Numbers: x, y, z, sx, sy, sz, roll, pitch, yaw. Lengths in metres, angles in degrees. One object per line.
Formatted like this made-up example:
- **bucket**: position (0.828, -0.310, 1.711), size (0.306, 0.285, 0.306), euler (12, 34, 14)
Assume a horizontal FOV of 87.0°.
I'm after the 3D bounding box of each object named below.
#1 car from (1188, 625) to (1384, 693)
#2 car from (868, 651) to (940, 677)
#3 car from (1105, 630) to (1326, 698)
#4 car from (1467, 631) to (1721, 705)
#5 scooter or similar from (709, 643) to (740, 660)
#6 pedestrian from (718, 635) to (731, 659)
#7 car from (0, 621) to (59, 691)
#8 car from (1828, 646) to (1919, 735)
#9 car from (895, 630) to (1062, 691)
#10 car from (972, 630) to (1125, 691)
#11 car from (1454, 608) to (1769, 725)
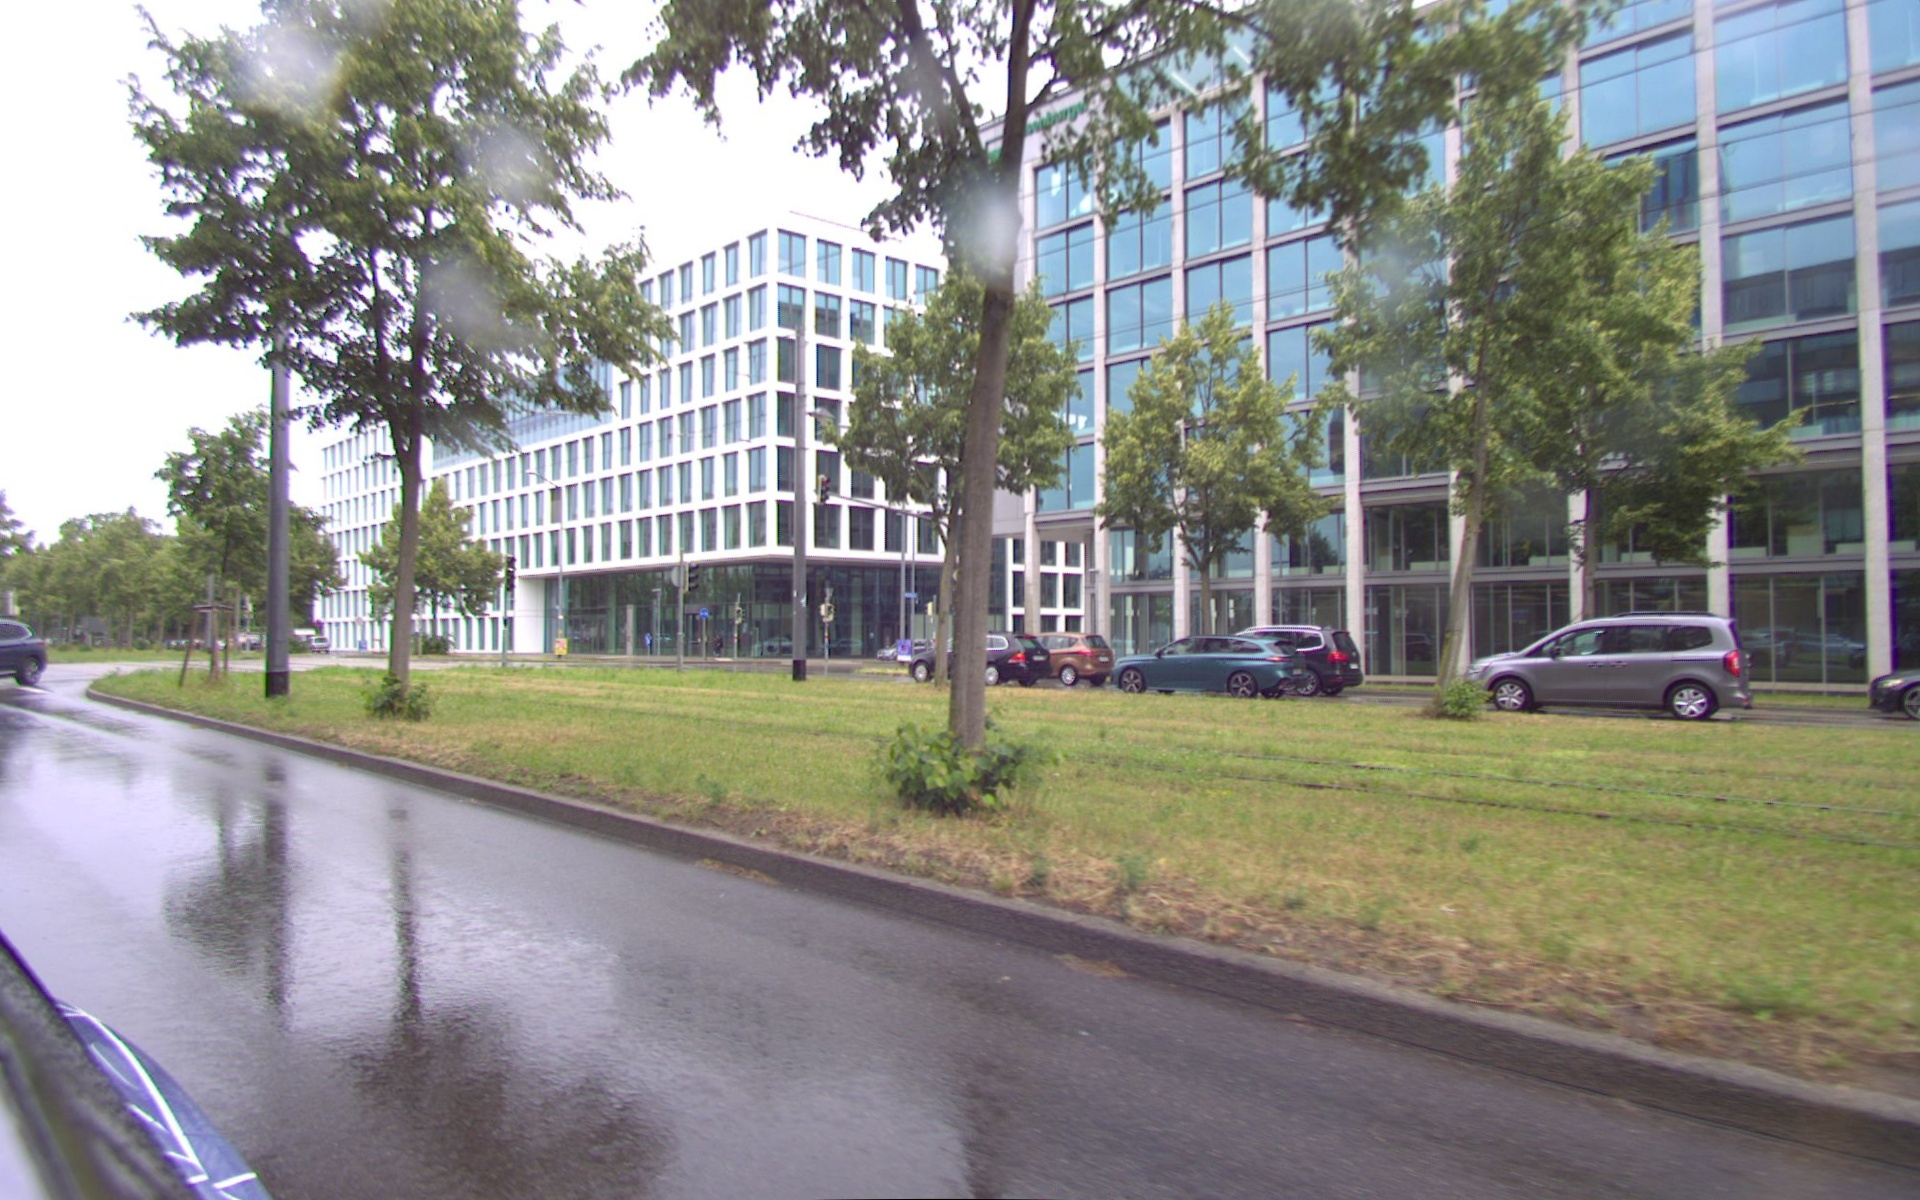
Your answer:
- **car**: position (8.170, 1.517, 25.582), size (4.267, 1.552, 1.931), euler (-5, -4, 39)
- **car**: position (-3.374, 3.875, 61.594), size (4.030, 1.447, 1.891), euler (1, -4, -40)
- **car**: position (5.742, 1.492, 23.069), size (4.469, 1.396, 1.931), euler (-5, -5, 40)
- **car**: position (13.280, 1.444, 21.324), size (4.267, 1.396, 1.931), euler (-5, -4, 39)
- **scooter or similar**: position (-16.037, 3.511, 69.050), size (0.550, 1.161, 2.134), euler (-5, -4, 39)
- **pedestrian**: position (-16.143, 3.208, 69.307), size (0.546, 1.656, 0.626), euler (-1, -2, 42)
- **car**: position (-24.079, 1.334, 24.015), size (1.898, 1.673, 4.727), euler (1, -3, -12)
- **car**: position (17.752, 1.486, 17.043), size (4.620, 1.458, 1.840), euler (-5, -4, 39)
- **car**: position (0.453, 1.687, 28.251), size (4.461, 1.571, 1.930), euler (-4, -4, 41)
- **car**: position (2.614, 1.746, 30.397), size (4.268, 1.707, 1.931), euler (-2, -2, 40)
- **car**: position (11.717, 1.181, 18.401), size (4.540, 1.863, 1.930), euler (-3, -4, 41)
